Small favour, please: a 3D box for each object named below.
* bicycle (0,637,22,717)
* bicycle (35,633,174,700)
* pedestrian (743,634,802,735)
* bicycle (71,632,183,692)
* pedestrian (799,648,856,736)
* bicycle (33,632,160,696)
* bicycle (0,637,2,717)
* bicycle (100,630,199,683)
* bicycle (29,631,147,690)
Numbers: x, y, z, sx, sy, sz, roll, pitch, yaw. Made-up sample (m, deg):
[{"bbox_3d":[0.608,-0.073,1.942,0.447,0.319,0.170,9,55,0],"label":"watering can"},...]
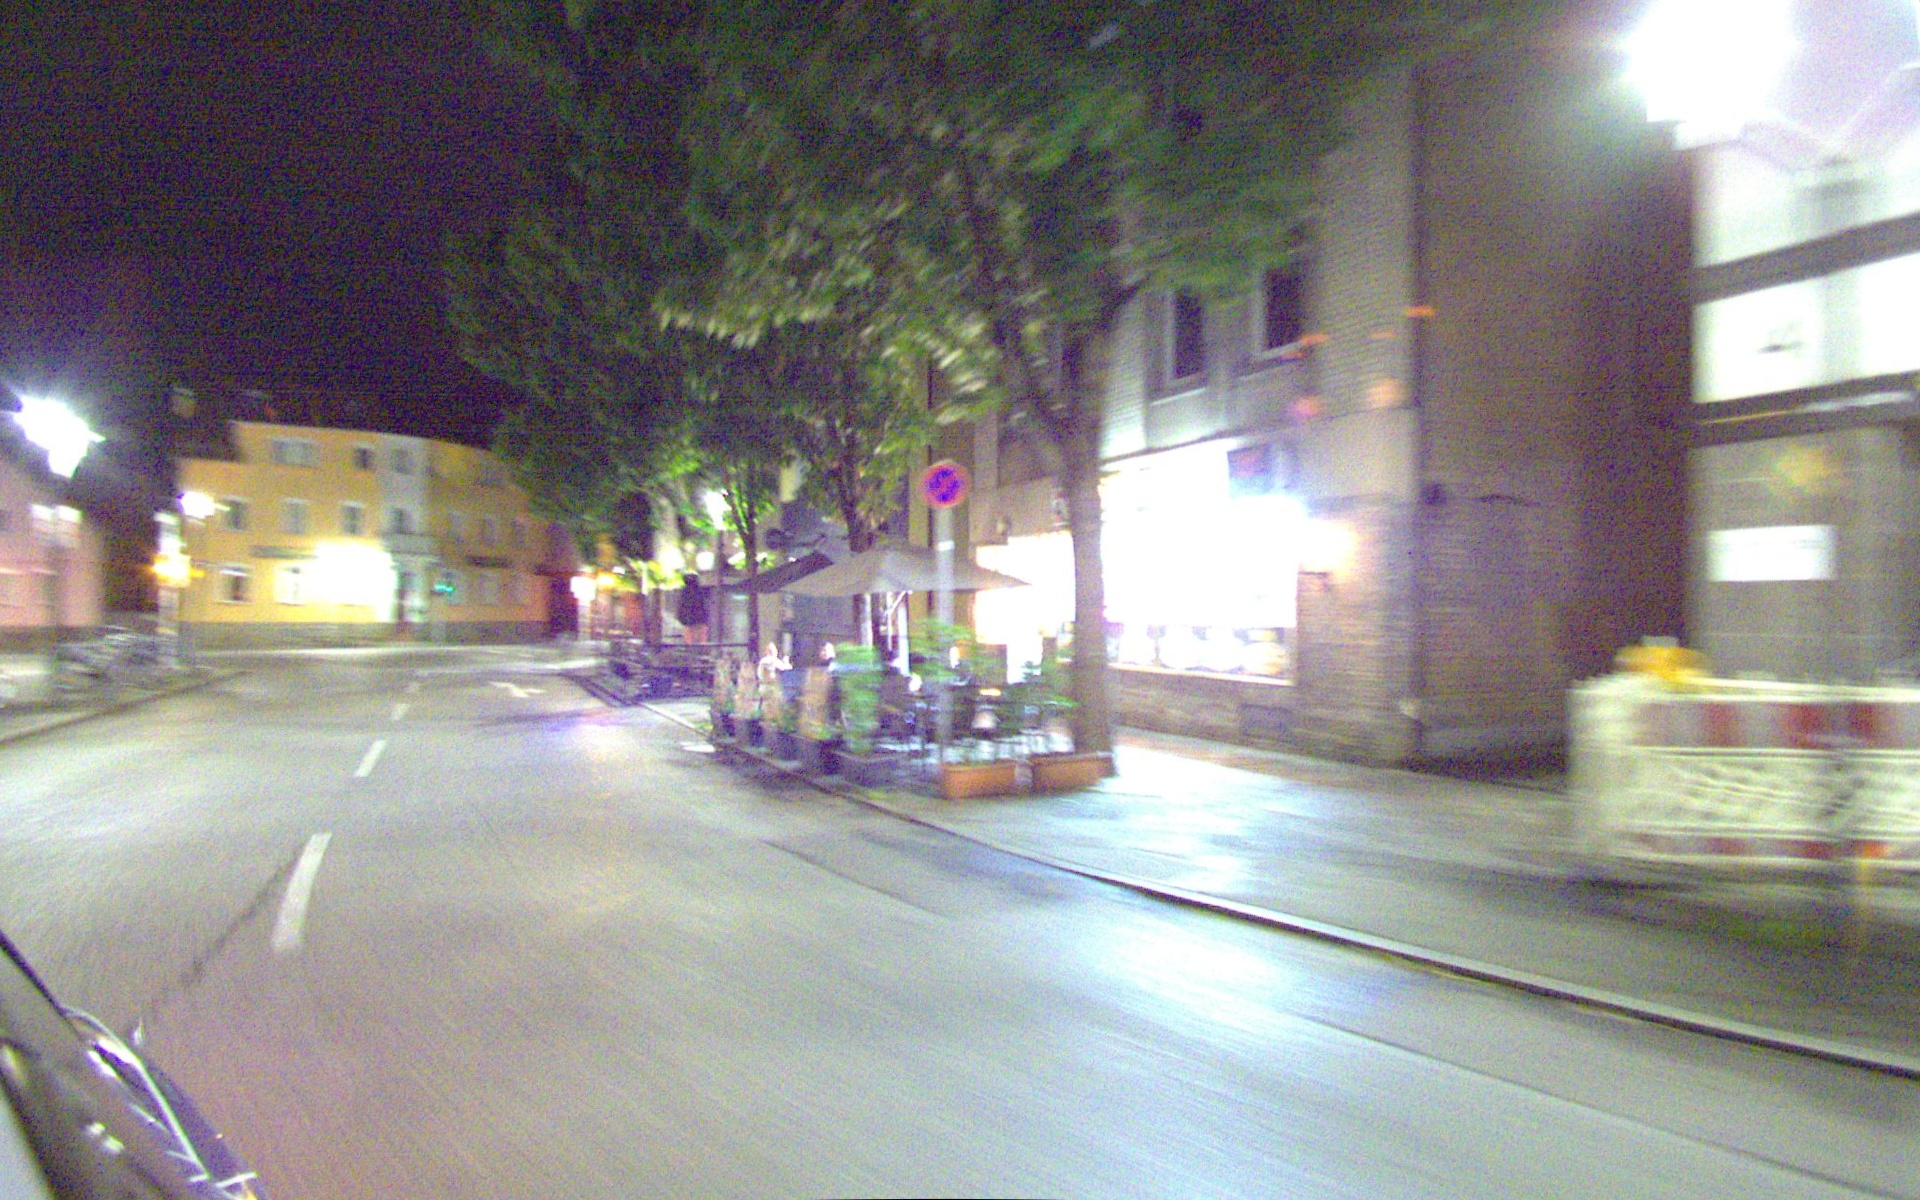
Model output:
[{"bbox_3d":[-14.875,1.129,14.676,1.747,1.160,0.584,0,-1,-23],"label":"bicycle"},{"bbox_3d":[-15.642,1.193,18.567,1.838,1.143,0.727,0,-1,-30],"label":"bicycle"},{"bbox_3d":[-2.693,1.194,14.549,0.666,1.389,0.578,1,-1,-32],"label":"pedestrian"},{"bbox_3d":[-16.775,1.235,20.424,1.631,1.143,0.644,0,-1,-29],"label":"bicycle"},{"bbox_3d":[-1.874,1.273,14.256,0.567,1.173,0.680,1,-1,-32],"label":"pedestrian"},{"bbox_3d":[-16.579,1.211,19.480,1.763,1.143,0.631,0,-1,-30],"label":"bicycle"},{"bbox_3d":[-14.620,1.115,14.103,1.747,1.160,0.584,0,-1,-23],"label":"bicycle"},{"bbox_3d":[-18.534,1.275,23.195,1.632,1.149,0.830,0,-1,-29],"label":"bicycle"},{"bbox_3d":[-18.049,1.234,20.999,1.744,1.149,0.689,0,-1,-29],"label":"bicycle"}]
